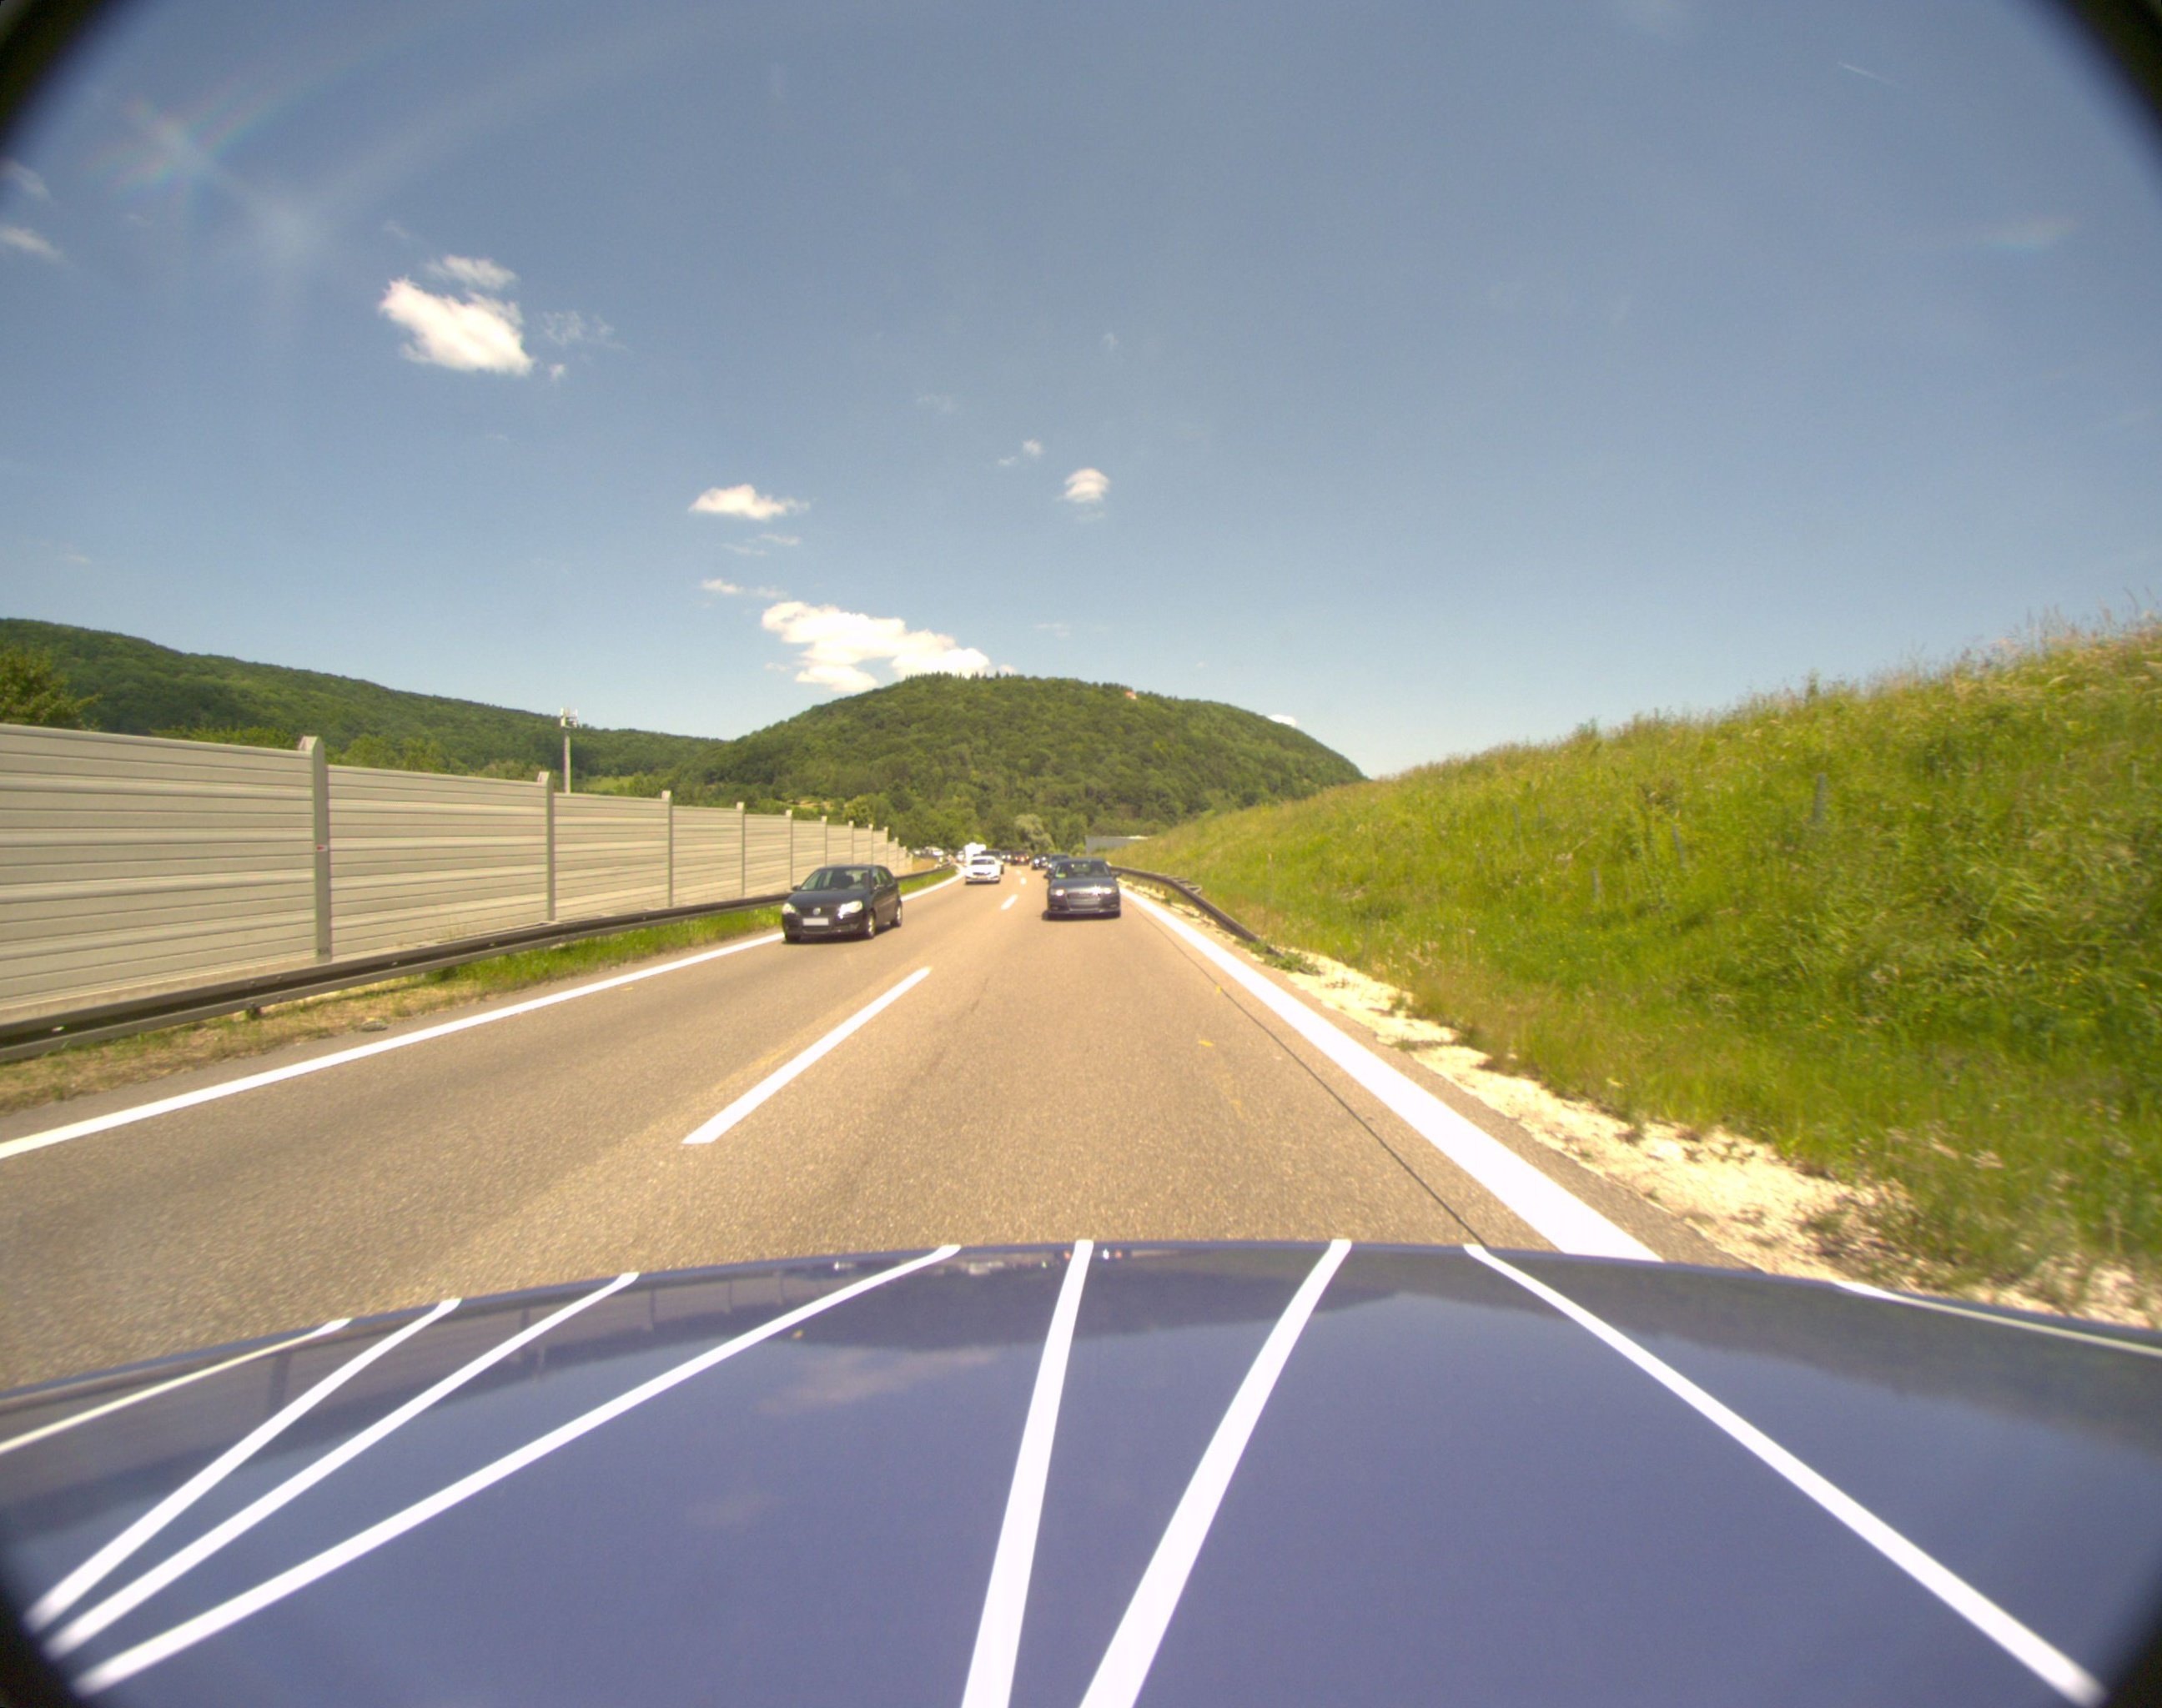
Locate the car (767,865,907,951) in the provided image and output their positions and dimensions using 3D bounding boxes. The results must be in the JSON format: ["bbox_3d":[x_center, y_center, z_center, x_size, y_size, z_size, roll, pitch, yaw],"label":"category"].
[{"bbox_3d":[-4.824,0.999,15.580,1.696,1.414,3.837,-1,1,-2],"label":"car"}]

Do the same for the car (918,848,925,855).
[{"bbox_3d":[-39.634,-0.584,188.569,1.247,1.470,2.956,-5,1,-18],"label":"car"}]

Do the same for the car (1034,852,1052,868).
[{"bbox_3d":[-3.298,0.538,65.471,1.287,1.305,3.451,-4,-1,-6],"label":"car"}]

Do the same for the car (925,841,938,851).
[{"bbox_3d":[-31.286,-1.738,159.362,2.001,2.002,3.993,-3,1,-19],"label":"car"}]

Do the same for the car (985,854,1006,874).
[{"bbox_3d":[-6.251,0.715,55.346,1.490,1.375,3.735,0,1,-7],"label":"car"}]

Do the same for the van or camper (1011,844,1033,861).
[{"bbox_3d":[-6.750,-0.138,86.815,1.819,1.856,3.609,-3,1,-13],"label":"van or camper"}]

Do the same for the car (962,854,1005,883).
[{"bbox_3d":[-5.236,0.787,41.105,1.907,1.422,3.722,-2,-1,-2],"label":"car"}]

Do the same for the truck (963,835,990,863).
[{"bbox_3d":[-12.863,-0.642,92.919,2.605,3.090,6.850,-5,1,-12],"label":"truck"}]

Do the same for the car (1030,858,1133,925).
[{"bbox_3d":[-0.120,0.836,18.784,1.757,1.382,4.051,-3,1,-11],"label":"car"}]

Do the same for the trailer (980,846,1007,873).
[{"bbox_3d":[-6.828,0.380,59.169,2.000,1.958,3.997,-2,1,-7],"label":"trailer"}]

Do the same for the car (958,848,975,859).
[{"bbox_3d":[-17.193,-0.043,113.971,1.700,1.524,3.674,-5,1,-18],"label":"car"}]

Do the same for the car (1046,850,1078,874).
[{"bbox_3d":[-1.263,0.494,49.522,1.696,1.422,3.460,-3,1,-6],"label":"car"}]

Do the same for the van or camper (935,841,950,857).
[{"bbox_3d":[-27.540,-0.916,150.696,1.912,3.010,4.866,-2,1,-21],"label":"van or camper"}]
